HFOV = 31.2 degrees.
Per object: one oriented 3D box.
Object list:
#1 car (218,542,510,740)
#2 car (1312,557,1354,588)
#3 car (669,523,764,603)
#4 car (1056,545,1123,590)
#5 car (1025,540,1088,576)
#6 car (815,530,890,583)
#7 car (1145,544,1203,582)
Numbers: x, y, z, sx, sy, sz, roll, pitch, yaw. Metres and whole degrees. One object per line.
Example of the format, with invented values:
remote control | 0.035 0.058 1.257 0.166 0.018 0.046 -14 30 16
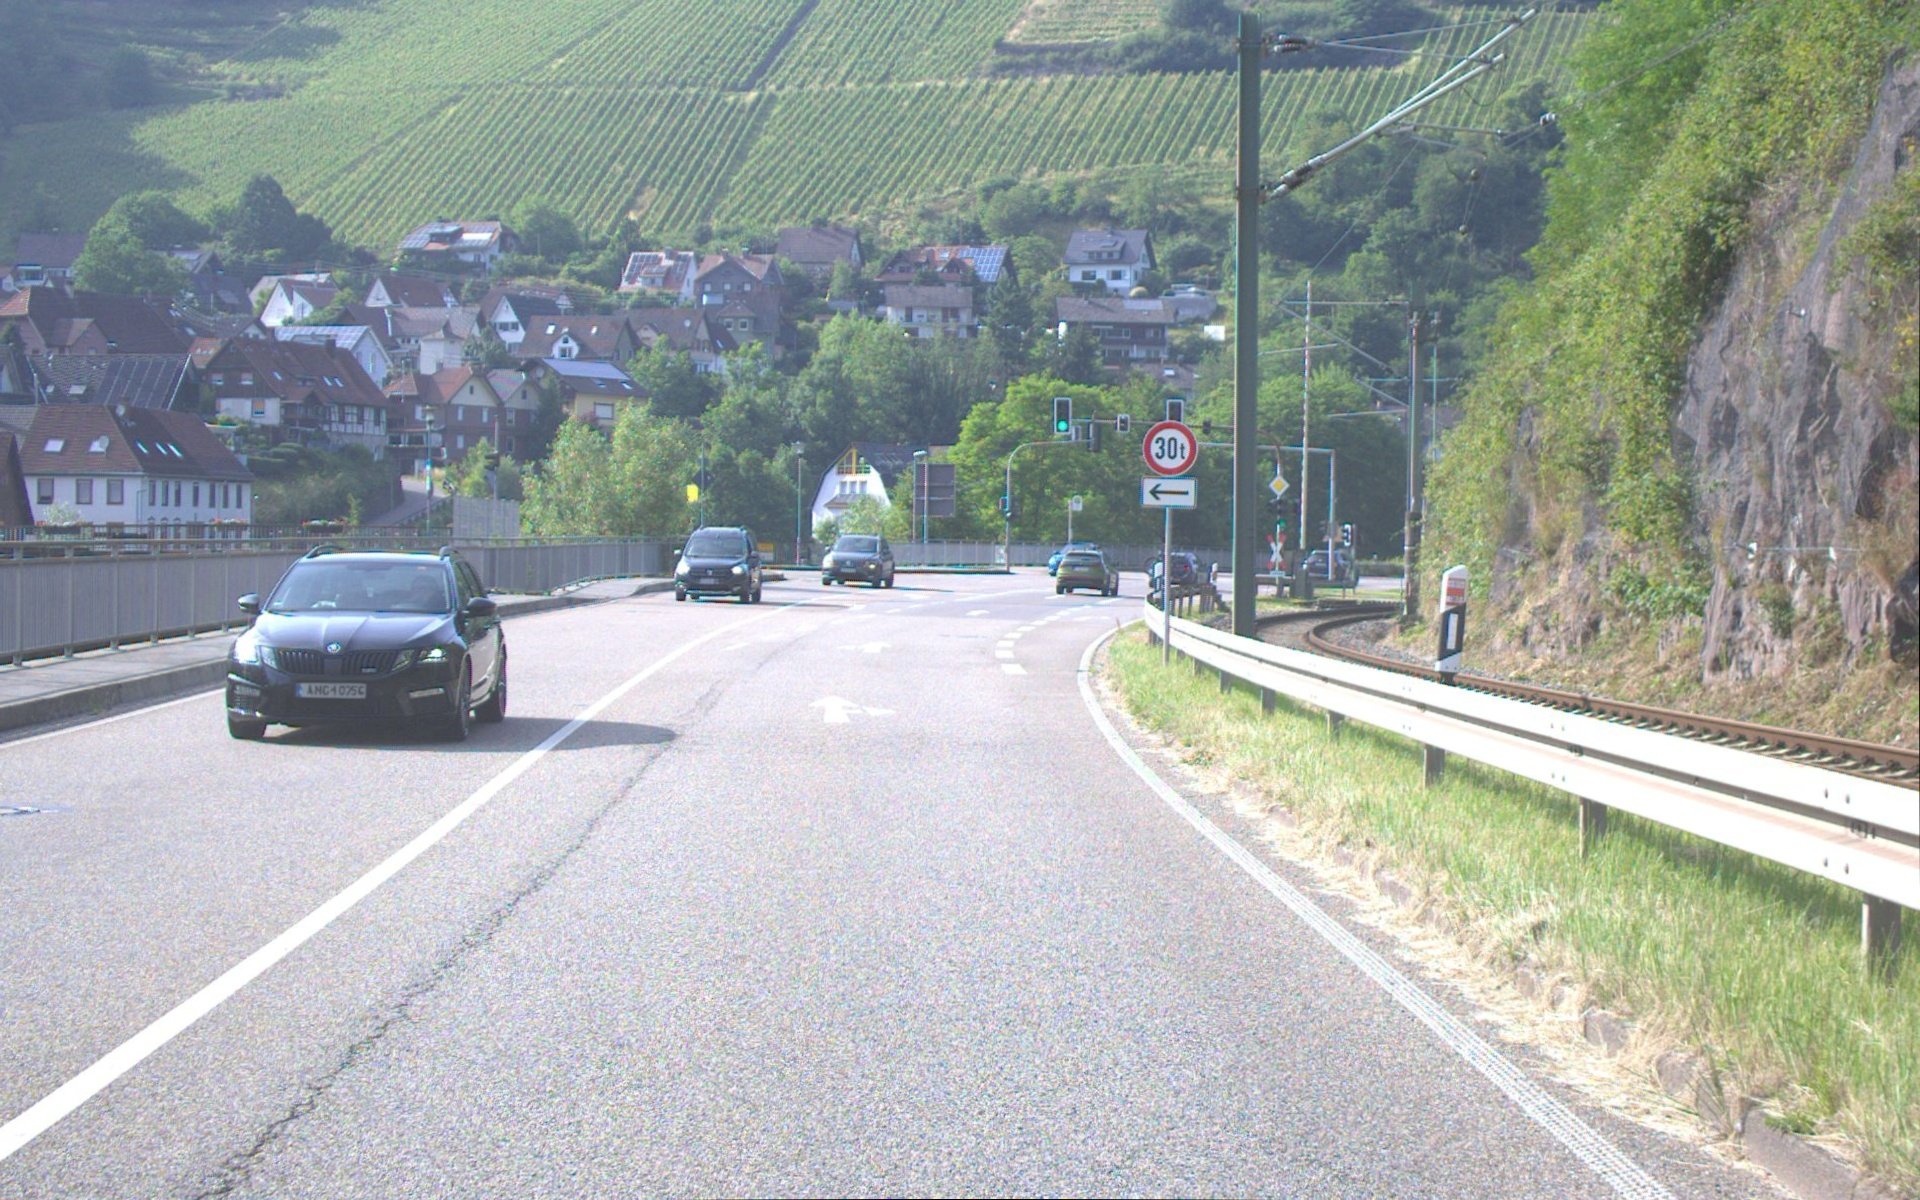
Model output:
car | -4.615 0.261 27.144 1.720 1.430 4.340 0 1 -2
car | 17.629 -1.293 162.453 1.807 1.448 3.646 1 0 8
car | -5.759 -0.906 81.858 1.791 1.821 4.828 1 1 1
car | 4.303 -1.070 113.915 1.729 1.452 3.409 1 0 10
car | 4.230 -1.841 150.317 1.783 1.477 4.523 2 1 14
car | -3.439 -1.400 110.412 1.817 1.641 4.612 2 1 5
car | 8.336 -1.436 133.937 1.841 1.454 3.711 1 0 10
